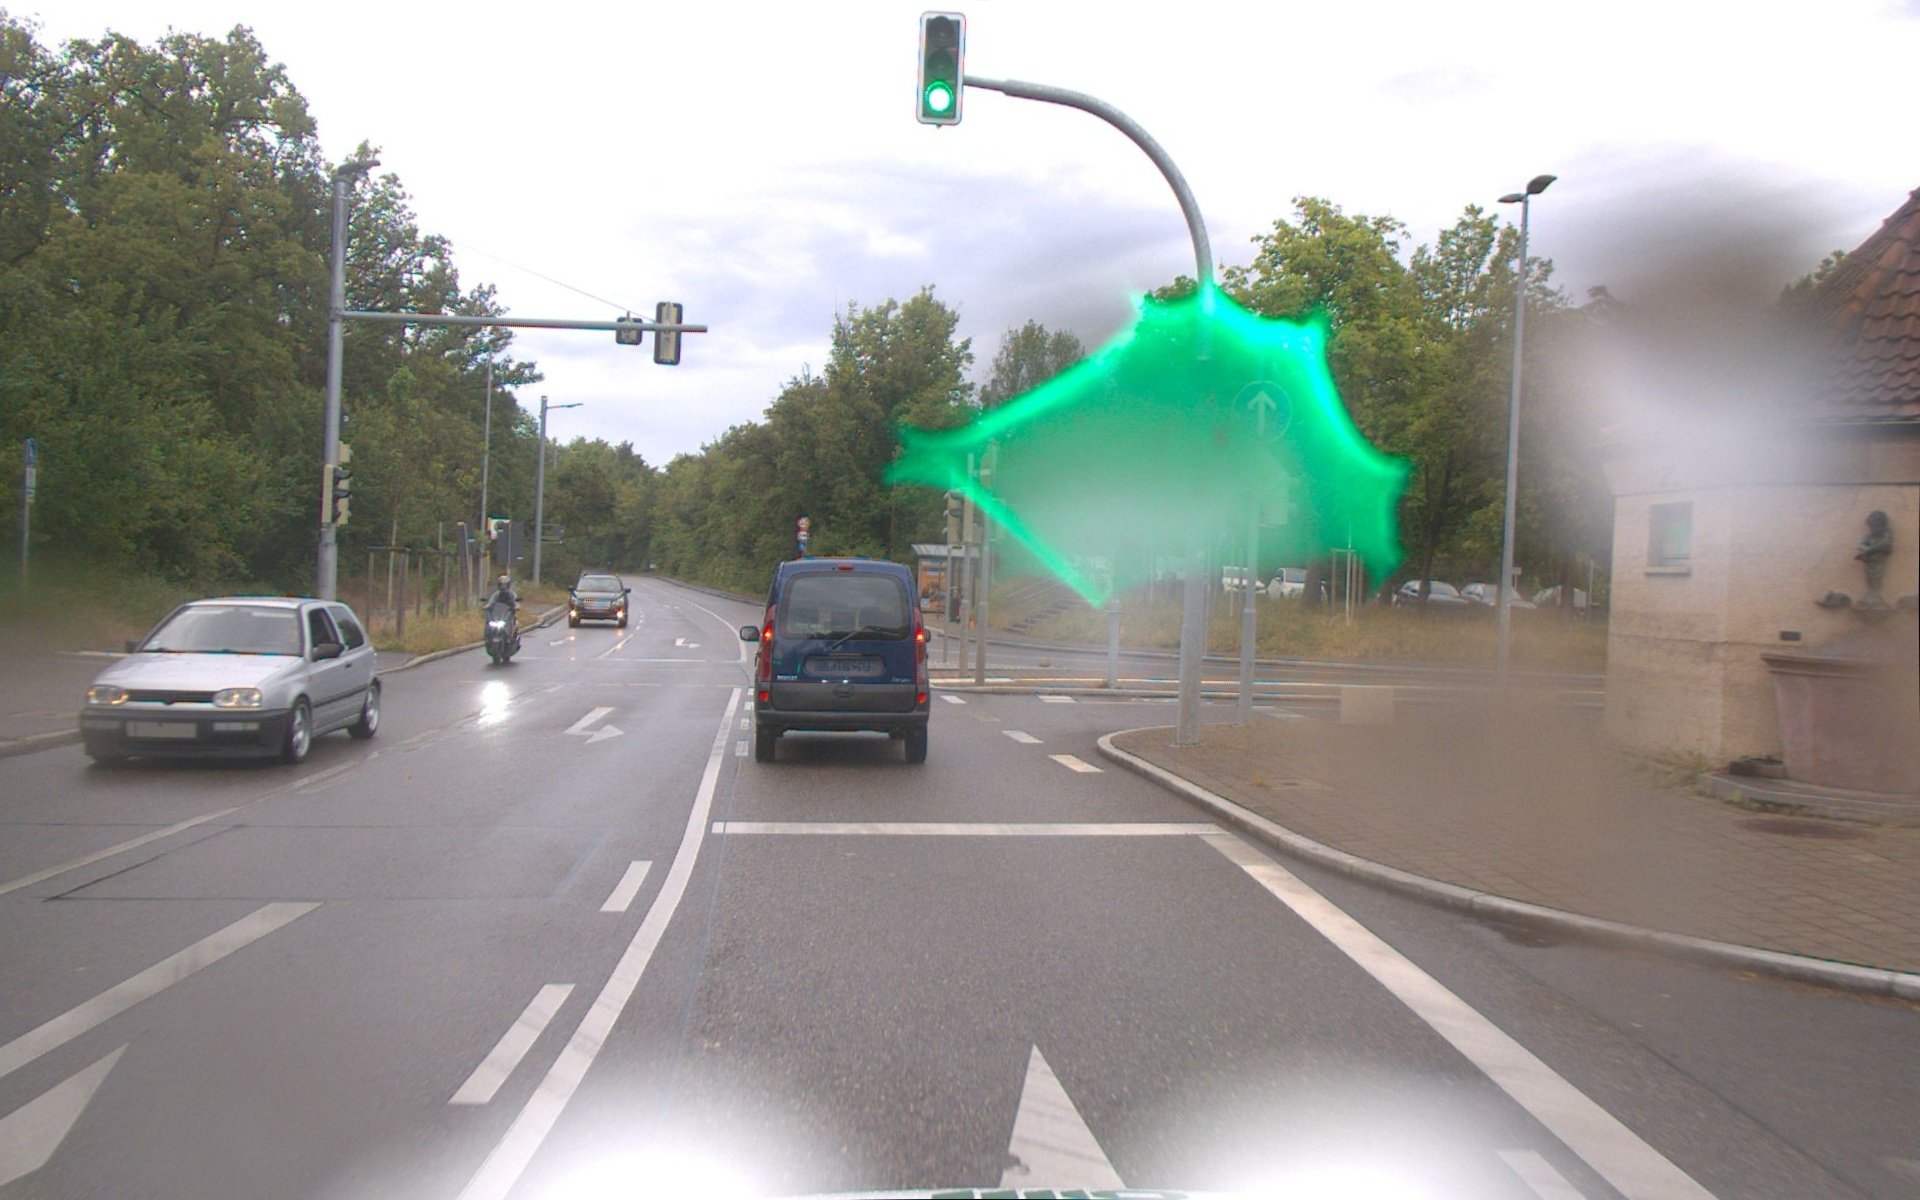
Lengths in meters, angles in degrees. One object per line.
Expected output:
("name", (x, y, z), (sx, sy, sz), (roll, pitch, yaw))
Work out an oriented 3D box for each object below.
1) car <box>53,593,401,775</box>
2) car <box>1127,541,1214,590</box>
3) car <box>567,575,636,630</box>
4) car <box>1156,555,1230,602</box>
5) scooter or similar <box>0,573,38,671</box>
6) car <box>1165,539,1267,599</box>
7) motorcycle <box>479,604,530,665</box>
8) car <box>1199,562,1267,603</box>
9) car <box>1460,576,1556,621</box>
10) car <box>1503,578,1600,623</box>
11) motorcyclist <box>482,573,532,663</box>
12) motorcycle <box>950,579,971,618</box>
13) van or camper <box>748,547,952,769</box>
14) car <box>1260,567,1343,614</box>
("car", (-6.518, 0.663, 15.229), (1.707, 1.375, 4.204), (1, 1, -6))
("car", (7.450, -1.203, 58.928), (1.957, 1.505, 4.276), (4, 0, -8))
("car", (-11.308, 0.037, 52.359), (1.755, 1.609, 4.554), (2, 1, -8))
("car", (9.574, -0.893, 68.258), (1.955, 1.690, 4.468), (5, 1, -5))
("scooter or similar", (-12.558, 0.279, 21.309), (0.507, 1.233, 1.468), (3, 0, -2))
("car", (8.191, -1.017, 53.262), (1.957, 1.690, 3.992), (5, 1, -10))
("motorcycle", (-8.638, 0.634, 31.417), (0.582, 1.069, 1.997), (1, 1, -5))
("car", (11.600, -0.730, 70.481), (1.849, 1.505, 4.065), (6, 0, -4))
("car", (19.673, -0.056, 59.570), (1.848, 1.505, 4.065), (1, 0, -4))
("car", (22.052, 0.012, 61.791), (1.849, 1.505, 4.064), (3, 0, -5))
("motorcyclist", (-8.644, 0.332, 31.555), (0.731, 1.660, 0.926), (1, 0, -6))
("motorcycle", (0.017, -0.058, 58.257), (0.576, 1.311, 1.539), (2, 1, 5))
("van or camper", (-1.097, 0.490, 16.425), (1.679, 1.857, 3.997), (3, 0, -4))
("car", (12.307, -0.341, 59.860), (1.848, 1.505, 4.065), (4, 0, -4))
